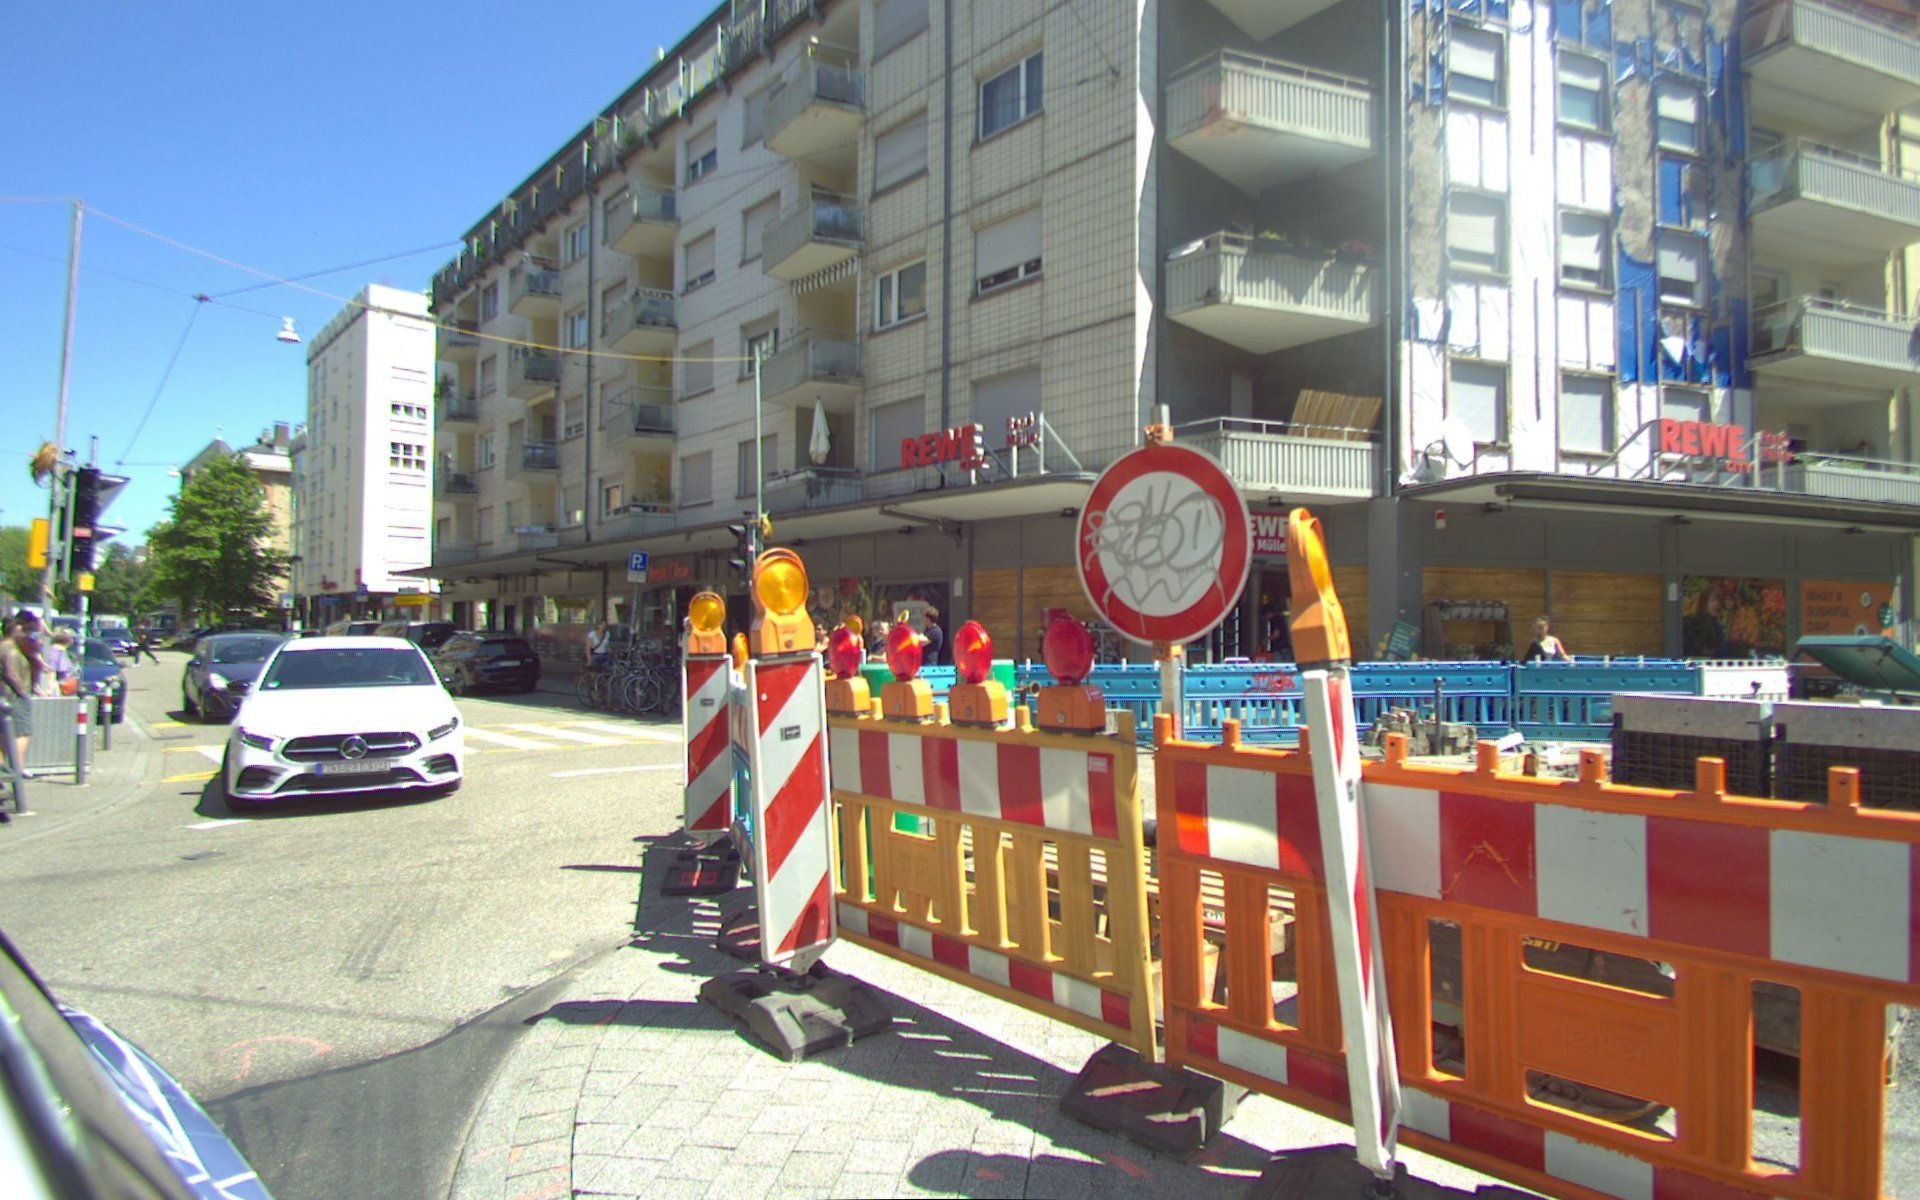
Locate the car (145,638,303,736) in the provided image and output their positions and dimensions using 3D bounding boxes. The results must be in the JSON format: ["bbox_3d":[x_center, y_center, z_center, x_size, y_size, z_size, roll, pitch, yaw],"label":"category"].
[{"bbox_3d":[-13.160,1.440,17.997,1.755,1.480,4.003,0,-1,-44],"label":"car"}]

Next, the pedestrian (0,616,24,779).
[{"bbox_3d":[-10.143,1.018,10.655,0.328,1.688,0.402,2,-3,-38],"label":"pedestrian"}]

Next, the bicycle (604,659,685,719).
[{"bbox_3d":[-6.074,1.695,19.525,0.398,1.038,1.478,-2,-1,42],"label":"bicycle"}]

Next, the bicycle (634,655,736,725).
[{"bbox_3d":[-4.959,1.600,18.351,0.577,1.131,1.779,-2,-1,40],"label":"bicycle"}]

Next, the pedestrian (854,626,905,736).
[{"bbox_3d":[-1.232,1.228,15.541,0.600,1.645,0.503,-2,-3,44],"label":"pedestrian"}]

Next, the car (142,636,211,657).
[{"bbox_3d":[-57.246,3.371,73.989,3.830,1.507,1.653,3,-3,-44],"label":"car"}]

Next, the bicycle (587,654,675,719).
[{"bbox_3d":[-6.458,1.673,19.911,0.527,1.148,1.565,-2,-1,45],"label":"bicycle"}]

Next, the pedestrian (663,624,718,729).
[{"bbox_3d":[-4.594,1.287,17.236,0.633,1.740,0.649,-2,-3,44],"label":"pedestrian"}]

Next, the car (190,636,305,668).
[{"bbox_3d":[-32.287,2.351,45.940,3.827,1.436,1.819,1,-3,-12],"label":"car"}]

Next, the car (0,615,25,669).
[{"bbox_3d":[-50.239,2.178,52.813,2.038,2.723,5.043,0,-1,-44],"label":"car"}]

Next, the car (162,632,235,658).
[{"bbox_3d":[-52.937,3.141,70.367,3.830,1.760,1.653,3,-3,-44],"label":"car"}]

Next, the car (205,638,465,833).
[{"bbox_3d":[-6.188,1.115,9.936,1.785,1.436,4.252,0,-2,-34],"label":"car"}]

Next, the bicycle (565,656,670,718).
[{"bbox_3d":[-6.854,1.714,20.301,1.910,1.100,0.605,0,-2,-42],"label":"bicycle"}]

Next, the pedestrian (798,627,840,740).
[{"bbox_3d":[-2.031,1.180,14.556,0.489,1.577,0.461,-1,-2,-18],"label":"pedestrian"}]

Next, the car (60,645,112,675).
[{"bbox_3d":[-44.080,2.982,51.039,1.723,1.401,4.003,3,-3,-44],"label":"car"}]

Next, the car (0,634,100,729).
[{"bbox_3d":[-15.669,1.310,17.054,1.607,1.443,3.664,4,-4,-42],"label":"car"}]

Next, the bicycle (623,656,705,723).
[{"bbox_3d":[-5.440,1.628,18.668,0.335,1.125,1.503,-2,-1,42],"label":"bicycle"}]

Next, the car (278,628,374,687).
[{"bbox_3d":[-21.472,1.898,34.195,1.768,1.843,4.904,1,-2,-44],"label":"car"}]

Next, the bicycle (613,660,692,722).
[{"bbox_3d":[-5.744,1.681,18.943,0.335,1.044,1.432,-2,-1,42],"label":"bicycle"}]

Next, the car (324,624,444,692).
[{"bbox_3d":[-16.996,1.659,29.768,4.699,1.825,1.769,-2,-2,44],"label":"car"}]

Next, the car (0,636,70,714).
[{"bbox_3d":[-19.670,1.478,20.779,4.487,1.443,1.706,-2,-4,45],"label":"car"}]

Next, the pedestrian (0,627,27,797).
[{"bbox_3d":[-9.143,1.039,9.518,0.453,1.572,0.480,2,-3,-38],"label":"pedestrian"}]

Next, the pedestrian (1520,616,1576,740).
[{"bbox_3d":[8.379,1.102,14.434,0.384,1.728,0.591,1,-3,-5],"label":"pedestrian"}]

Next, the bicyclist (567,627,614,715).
[{"bbox_3d":[-7.513,1.417,20.582,0.615,1.719,0.981,-1,-1,-37],"label":"bicyclist"}]

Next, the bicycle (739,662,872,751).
[{"bbox_3d":[-2.165,1.477,14.255,1.779,1.128,0.469,0,-2,-23],"label":"bicycle"}]

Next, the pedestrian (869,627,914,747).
[{"bbox_3d":[-0.951,1.189,14.038,0.475,1.630,0.385,-2,-3,44],"label":"pedestrian"}]

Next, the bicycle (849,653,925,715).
[{"bbox_3d":[-1.342,1.530,18.470,1.425,1.094,0.318,-2,-3,28],"label":"bicycle"}]

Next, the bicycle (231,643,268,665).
[{"bbox_3d":[-37.217,2.806,53.000,1.585,1.099,0.372,0,-2,-39],"label":"bicycle"}]

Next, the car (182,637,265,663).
[{"bbox_3d":[-44.486,3.009,61.171,3.830,1.541,1.653,3,-3,-44],"label":"car"}]

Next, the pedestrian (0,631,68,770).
[{"bbox_3d":[-10.701,1.150,11.671,0.486,1.555,0.437,5,-5,-38],"label":"pedestrian"}]

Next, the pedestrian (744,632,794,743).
[{"bbox_3d":[-2.892,1.304,15.332,0.511,1.645,0.535,-2,-3,44],"label":"pedestrian"}]

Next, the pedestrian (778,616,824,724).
[{"bbox_3d":[-2.715,1.179,17.268,0.600,1.784,0.503,-2,-3,44],"label":"pedestrian"}]

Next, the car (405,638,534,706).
[{"bbox_3d":[-12.320,1.721,25.304,1.650,1.537,4.468,1,-2,-43],"label":"car"}]

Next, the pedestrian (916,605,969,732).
[{"bbox_3d":[-0.253,1.002,14.972,0.600,1.834,0.503,-2,-3,44],"label":"pedestrian"}]
